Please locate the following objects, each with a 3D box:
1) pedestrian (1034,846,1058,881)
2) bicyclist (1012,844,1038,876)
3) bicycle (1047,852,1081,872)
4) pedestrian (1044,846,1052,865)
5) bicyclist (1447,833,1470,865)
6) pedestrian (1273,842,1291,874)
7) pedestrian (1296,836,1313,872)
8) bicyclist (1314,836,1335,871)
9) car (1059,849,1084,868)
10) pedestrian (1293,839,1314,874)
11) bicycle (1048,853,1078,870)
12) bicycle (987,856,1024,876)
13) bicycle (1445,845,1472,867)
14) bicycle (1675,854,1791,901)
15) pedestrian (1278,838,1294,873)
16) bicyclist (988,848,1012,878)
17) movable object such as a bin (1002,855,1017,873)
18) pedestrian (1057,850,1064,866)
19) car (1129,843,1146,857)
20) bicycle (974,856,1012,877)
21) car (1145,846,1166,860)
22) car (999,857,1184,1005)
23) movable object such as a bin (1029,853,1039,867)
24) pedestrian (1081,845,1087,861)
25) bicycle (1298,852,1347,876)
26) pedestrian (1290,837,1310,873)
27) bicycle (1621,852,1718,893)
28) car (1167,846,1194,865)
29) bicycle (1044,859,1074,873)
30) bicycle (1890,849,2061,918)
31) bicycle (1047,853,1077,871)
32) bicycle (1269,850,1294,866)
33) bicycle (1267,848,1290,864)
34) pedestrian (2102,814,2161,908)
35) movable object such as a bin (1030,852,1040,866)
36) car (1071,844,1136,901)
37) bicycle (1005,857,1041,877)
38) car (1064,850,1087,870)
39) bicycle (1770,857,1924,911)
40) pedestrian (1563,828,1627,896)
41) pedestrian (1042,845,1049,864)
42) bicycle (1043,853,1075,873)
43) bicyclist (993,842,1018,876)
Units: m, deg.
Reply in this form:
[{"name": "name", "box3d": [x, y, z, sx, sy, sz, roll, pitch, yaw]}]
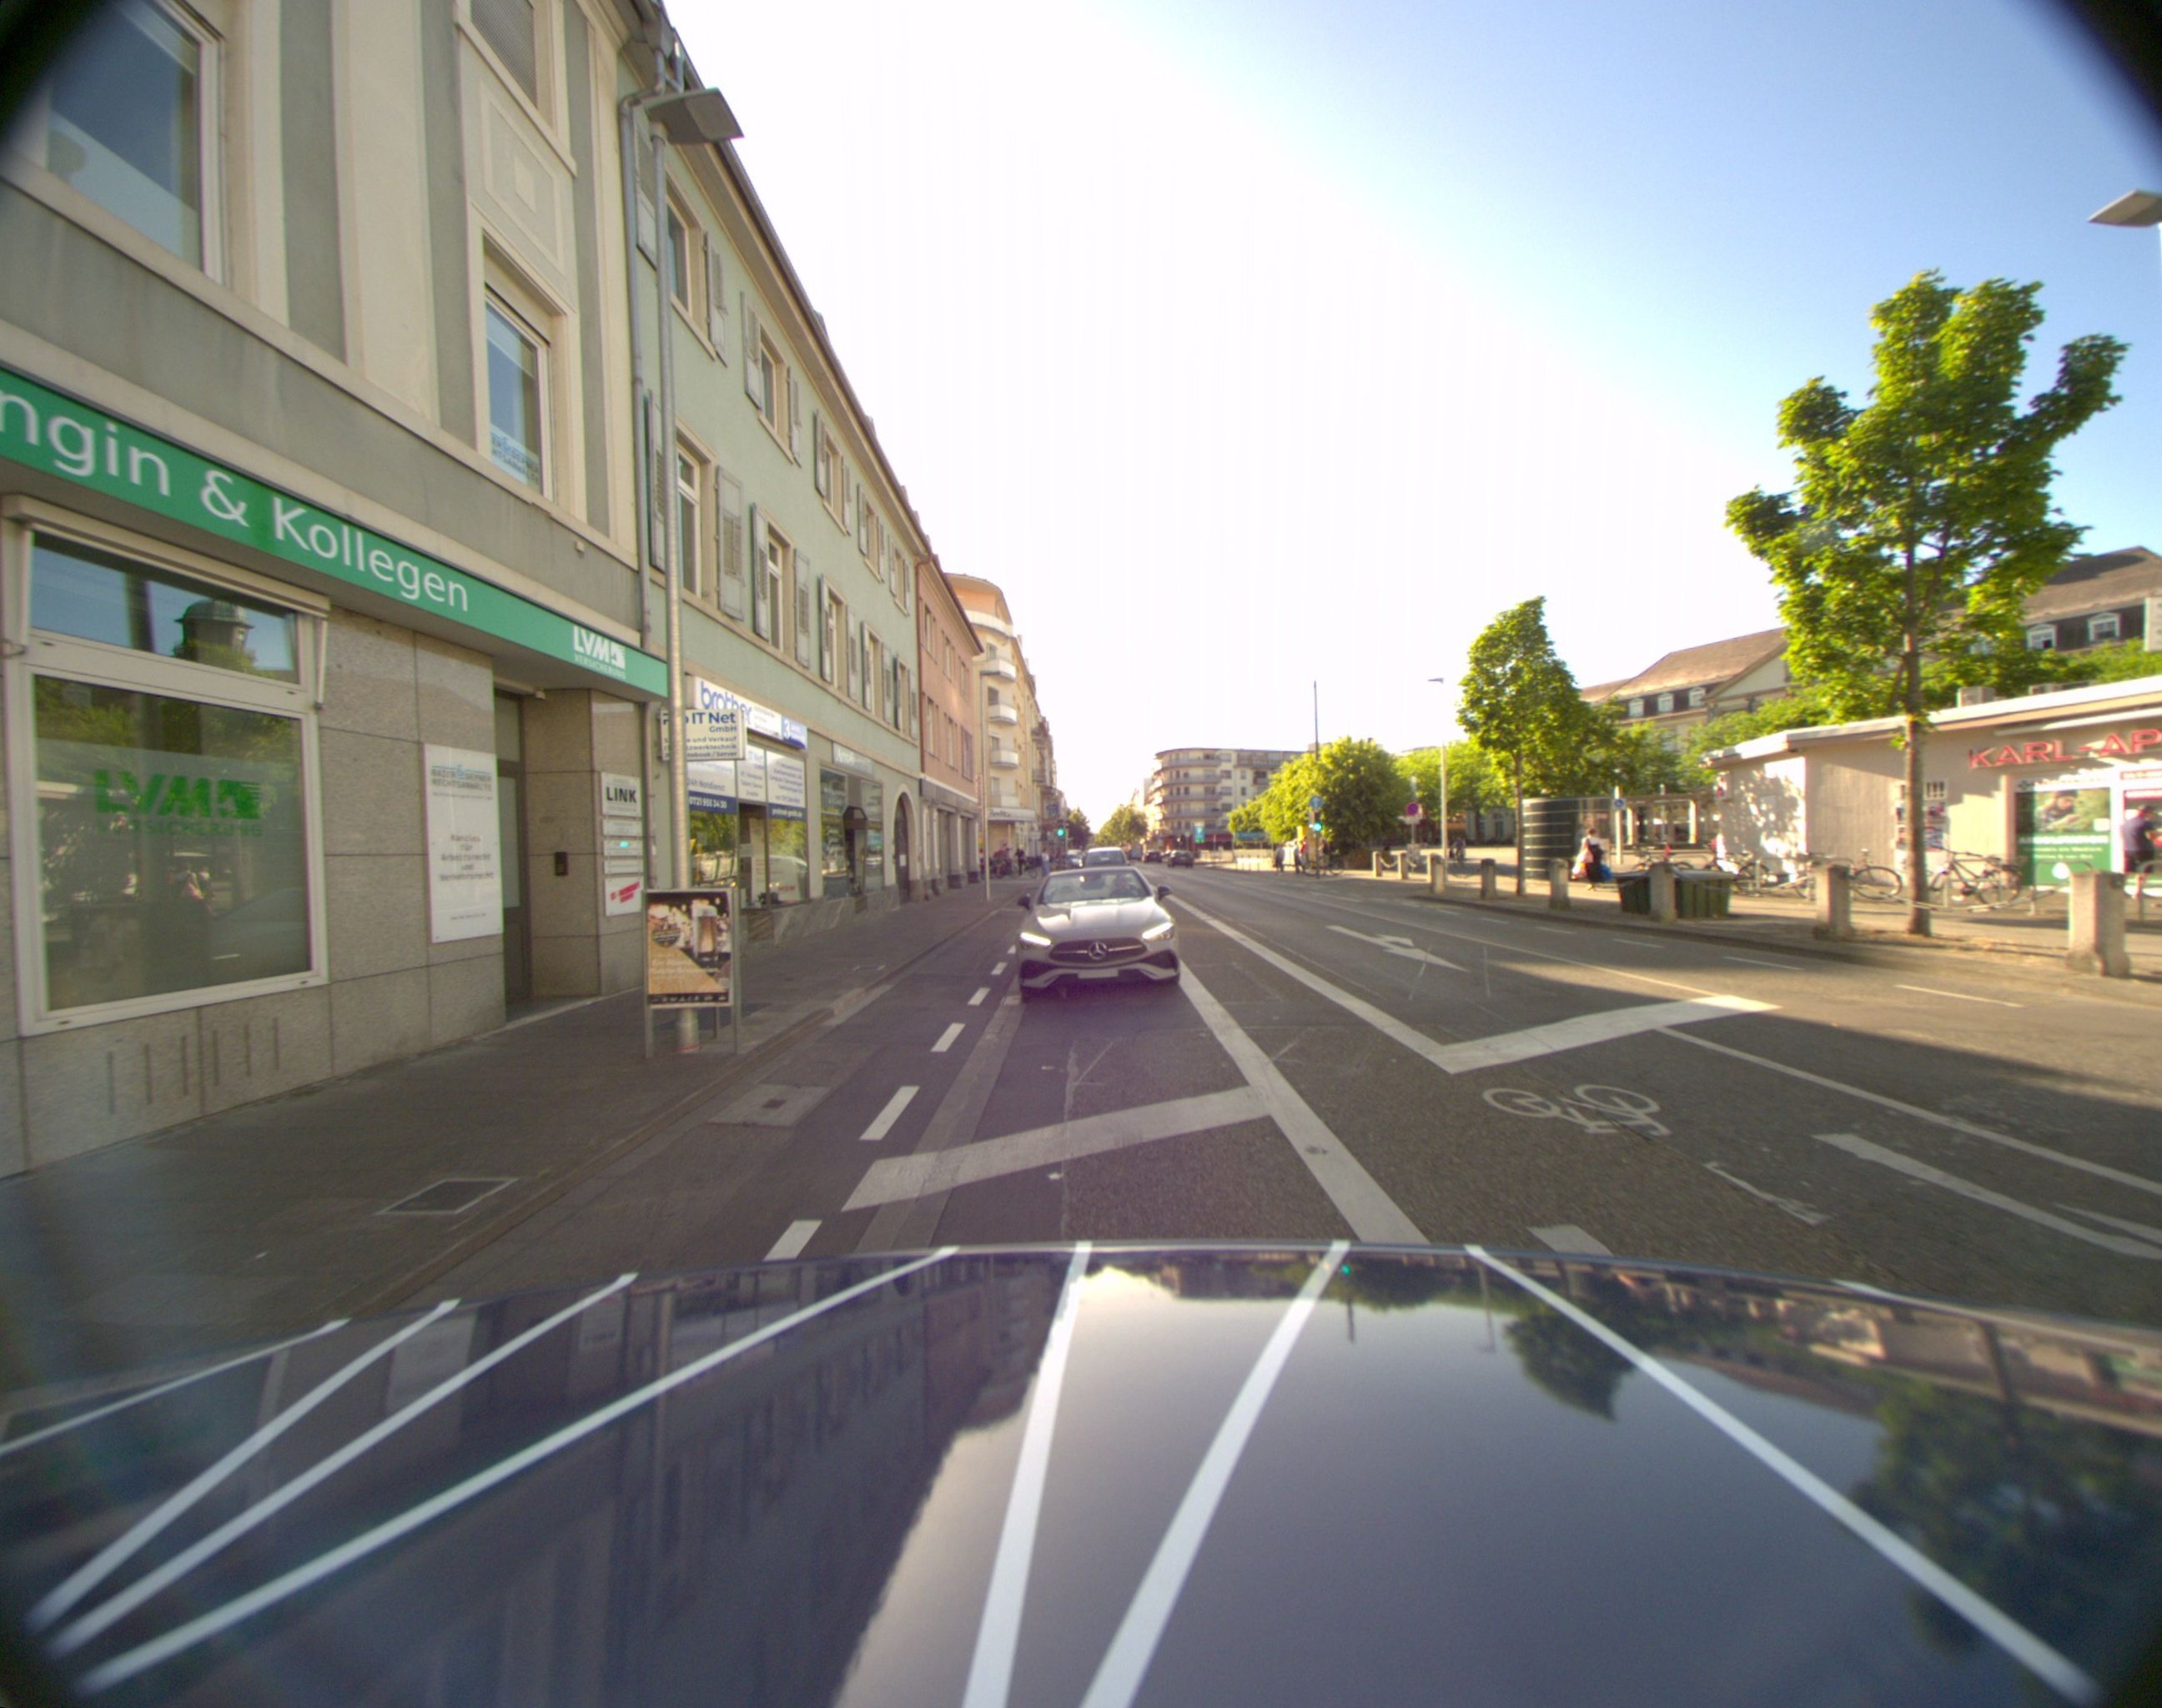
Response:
[{"name": "pedestrian", "box3d": [-1.711, 0.452, 37.231, 0.813, 1.649, 0.767, -2, 1, 37]}, {"name": "bicyclist", "box3d": [-3.059, 0.339, 41.422, 1.129, 1.675, 0.727, -2, 1, 28]}, {"name": "bicycle", "box3d": [-1.107, 0.531, 49.704, 2.142, 1.237, 0.710, -2, 1, -4]}, {"name": "pedestrian", "box3d": [-3.383, 0.104, 77.544, 0.694, 1.895, 0.906, -2, 1, -2]}, {"name": "bicyclist", "box3d": [19.750, -0.258, 39.763, 0.941, 1.599, 1.171, -1, 1, 19]}, {"name": "pedestrian", "box3d": [10.519, 0.215, 39.804, 0.686, 1.664, 0.698, -1, 1, 32]}, {"name": "pedestrian", "box3d": [11.952, -0.020, 40.654, 0.609, 1.907, 0.784, -2, 1, 3]}, {"name": "bicyclist", "box3d": [11.813, -0.045, 36.866, 0.803, 1.639, 0.995, -2, 1, 23]}, {"name": "car", "box3d": [-0.707, 0.360, 59.763, 1.693, 1.390, 4.000, -2, 0, 2]}, {"name": "pedestrian", "box3d": [11.591, 0.117, 39.617, 0.590, 1.801, 0.781, -3, 1, -43]}, {"name": "bicycle", "box3d": [-1.221, 0.509, 52.284, 2.026, 1.143, 0.715, -1, 1, 1]}, {"name": "bicycle", "box3d": [-4.024, 0.627, 40.633, 1.823, 0.988, 0.564, -2, 1, -21]}, {"name": "bicycle", "box3d": [19.759, 0.087, 39.820, 0.941, 1.126, 2.482, -2, 1, 19]}, {"name": "bicycle", "box3d": [15.057, 0.532, 17.593, 1.888, 0.996, 0.765, -2, 1, 9]}, {"name": "pedestrian", "box3d": [10.920, 0.077, 40.497, 0.650, 1.847, 0.626, -1, 1, 32]}, {"name": "bicyclist", "box3d": [-4.470, 0.498, 41.726, 1.028, 1.574, 0.727, -2, 1, 23]}, {"name": "movable object such as a bin", "box3d": [-4.365, 0.609, 46.471, 0.810, 1.106, 0.620, -1, 1, -1]}, {"name": "pedestrian", "box3d": [-2.522, 0.508, 93.585, 0.694, 1.895, 0.906, -2, 1, -2]}, {"name": "car", "box3d": [7.856, -0.528, 106.627, 1.998, 1.936, 4.782, 1, 0, 0]}, {"name": "bicycle", "box3d": [-4.856, 0.684, 41.835, 1.915, 1.090, 0.734, -2, 1, 22]}, {"name": "car", "box3d": [8.369, -0.100, 85.848, 1.753, 1.415, 4.253, -3, 1, -2]}, {"name": "car", "box3d": [0.200, 0.817, 10.140, 1.910, 1.454, 4.364, -1, 1, 2]}, {"name": "movable object such as a bin", "box3d": [-3.969, 0.470, 63.870, 0.703, 1.154, 0.960, -2, 1, 1]}, {"name": "pedestrian", "box3d": [0.370, -0.108, 92.008, 0.610, 1.912, 0.714, -2, 1, 13]}, {"name": "bicycle", "box3d": [11.763, 0.468, 36.956, 2.171, 1.066, 0.765, -2, 1, 22]}, {"name": "pedestrian", "box3d": [11.189, 0.032, 38.814, 0.590, 1.801, 0.782, -2, 1, -25]}, {"name": "bicycle", "box3d": [15.579, 0.487, 20.156, 1.888, 0.996, 0.765, -2, 1, 9]}, {"name": "car", "box3d": [8.149, 0.111, 62.531, 1.654, 1.389, 4.042, 3, 1, 0]}, {"name": "bicycle", "box3d": [-1.414, 0.764, 48.157, 1.847, 0.826, 0.741, -2, 1, -5]}, {"name": "bicycle", "box3d": [15.386, 0.496, 13.107, 1.993, 1.082, 0.754, -2, 1, 2]}, {"name": "bicycle", "box3d": [-1.349, 0.544, 53.356, 2.049, 1.174, 0.683, -2, 1, 1]}, {"name": "bicycle", "box3d": [13.621, 0.258, 51.671, 1.549, 1.025, 0.364, -2, 1, 0]}, {"name": "bicycle", "box3d": [13.814, 0.131, 53.088, 1.529, 1.025, 0.364, -2, 1, 15]}, {"name": "pedestrian", "box3d": [19.513, 0.126, 14.021, 0.520, 1.699, 0.611, -1, 1, 0]}, {"name": "movable object such as a bin", "box3d": [-3.963, 0.420, 65.637, 0.703, 1.232, 0.960, -2, 1, 1]}, {"name": "car", "box3d": [0.757, 0.558, 25.740, 1.998, 1.718, 4.000, -2, 0, 1]}, {"name": "bicycle", "box3d": [-3.180, 0.720, 41.585, 1.910, 1.014, 0.561, -2, 1, 28]}, {"name": "car", "box3d": [-0.541, 0.565, 70.340, 1.999, 1.725, 4.198, -2, 1, -1]}, {"name": "bicycle", "box3d": [15.464, 0.601, 15.403, 2.015, 0.996, 0.889, -2, 1, 15]}, {"name": "pedestrian", "box3d": [13.343, 0.194, 19.757, 0.901, 1.688, 1.086, -2, 1, 4]}, {"name": "pedestrian", "box3d": [-3.683, 0.080, 78.292, 0.673, 1.942, 0.615, -2, 1, -2]}, {"name": "bicycle", "box3d": [-1.404, 0.565, 48.543, 1.946, 1.205, 0.933, -2, 1, -5]}, {"name": "bicyclist", "box3d": [-4.033, 0.271, 40.643, 1.142, 1.751, 0.752, -2, 1, -21]}]
